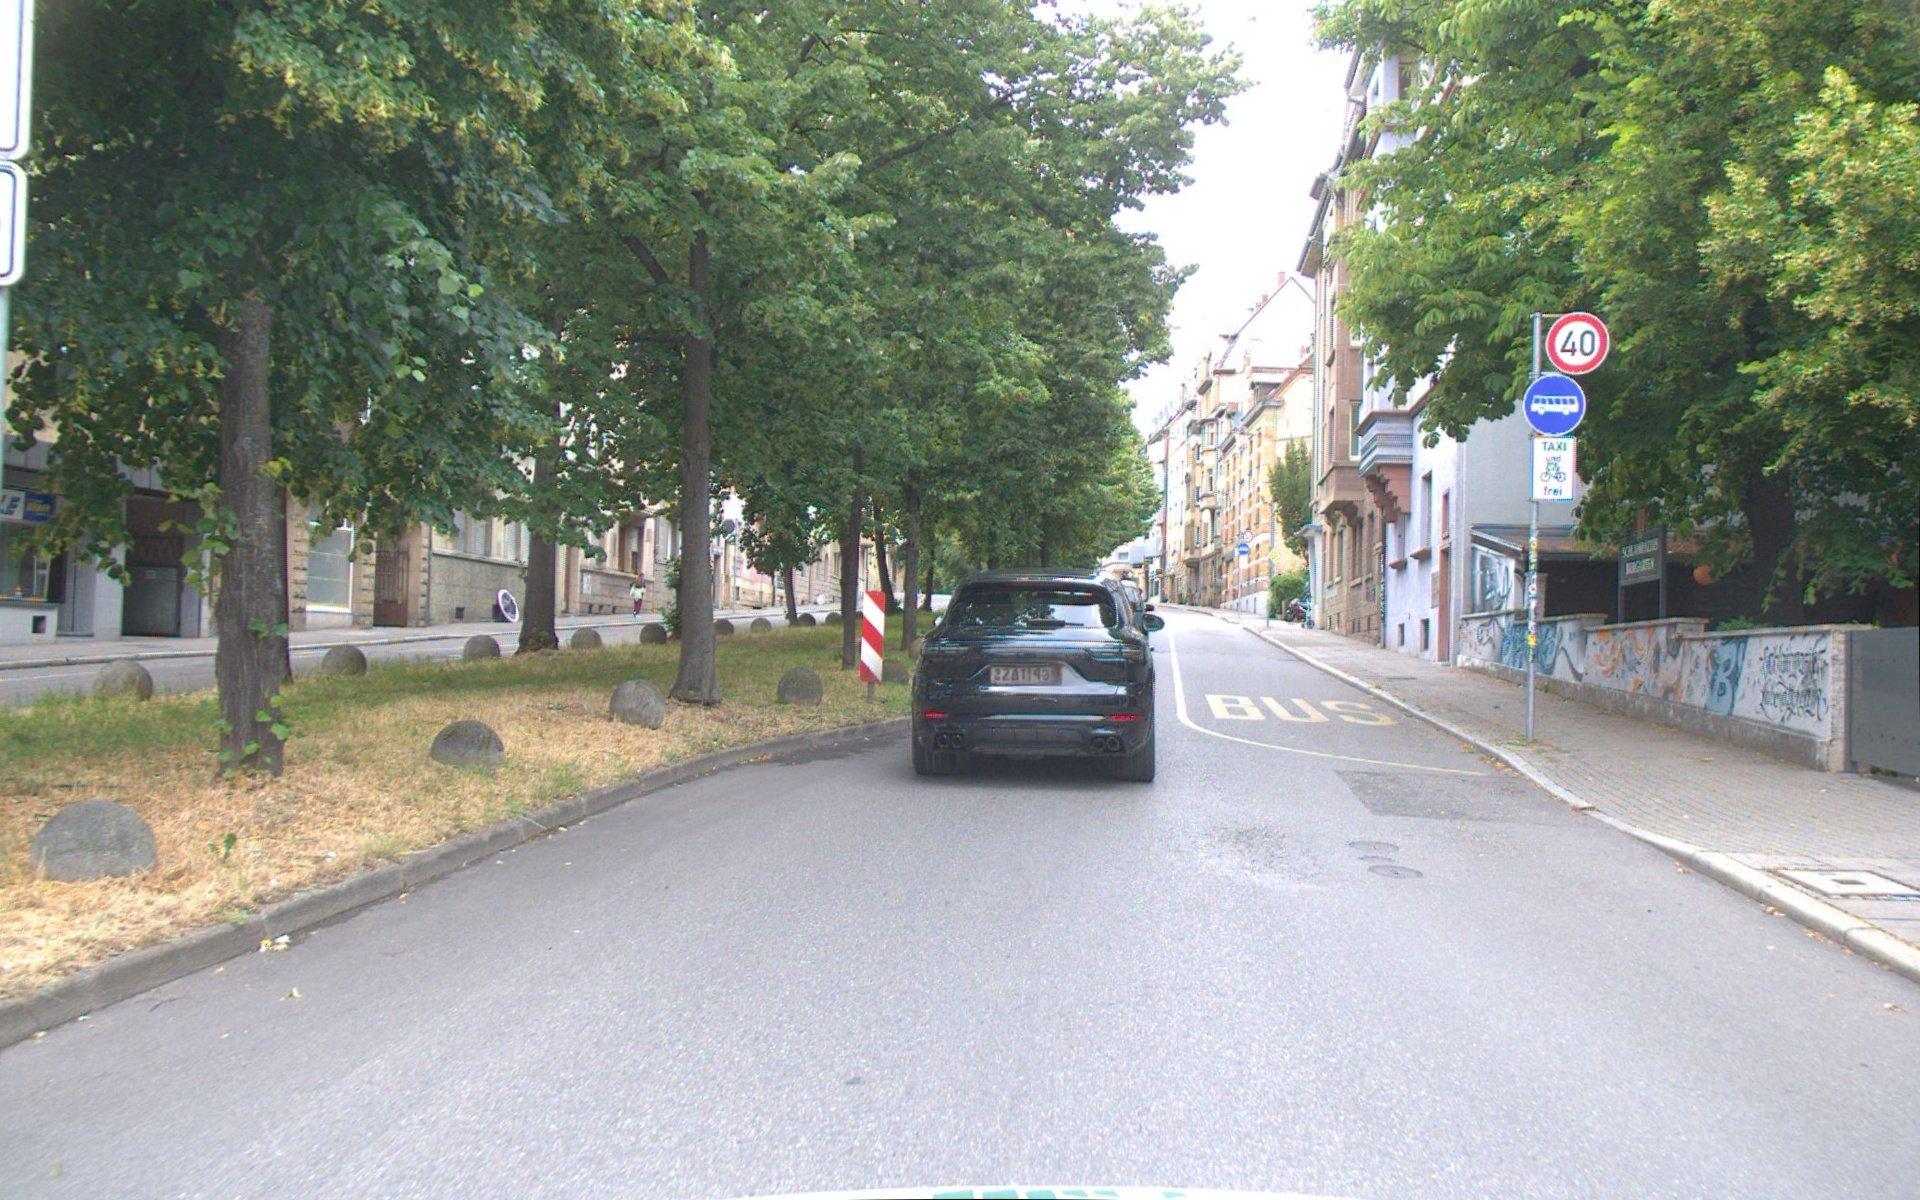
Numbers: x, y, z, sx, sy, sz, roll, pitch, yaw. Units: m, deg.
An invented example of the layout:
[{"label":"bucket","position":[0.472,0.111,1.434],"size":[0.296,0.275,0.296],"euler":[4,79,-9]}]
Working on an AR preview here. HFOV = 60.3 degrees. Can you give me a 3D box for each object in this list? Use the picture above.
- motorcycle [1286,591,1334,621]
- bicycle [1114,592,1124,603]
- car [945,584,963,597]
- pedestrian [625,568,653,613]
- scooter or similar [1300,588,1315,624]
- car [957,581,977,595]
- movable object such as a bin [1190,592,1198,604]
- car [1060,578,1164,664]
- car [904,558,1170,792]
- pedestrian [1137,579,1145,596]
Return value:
[{"label":"motorcycle","position":[16.529,0.266,78.176],"size":[2.013,1.290,1.010],"euler":[3,0,2]},{"label":"bicycle","position":[18.201,-0.336,189.549],"size":[0.861,1.149,2.978],"euler":[2,-2,-1]},{"label":"car","position":[-0.632,-1.046,187.645],"size":[1.672,1.406,4.292],"euler":[0,1,5]},{"label":"pedestrian","position":[-10.915,-0.325,56.244],"size":[0.684,1.486,0.704],"euler":[2,1,7]},{"label":"scooter or similar","position":[12.646,0.220,60.149],"size":[0.401,1.231,1.146],"euler":[-1,3,7]},{"label":"car","position":[0.738,-1.216,169.272],"size":[1.672,1.406,4.672],"euler":[0,1,5]},{"label":"movable object such as a bin","position":[18.314,-0.123,129.376],"size":[0.582,0.920,0.563],"euler":[2,0,2]},{"label":"car","position":[2.983,0.399,31.817],"size":[1.726,1.491,3.594],"euler":[2,-1,9]},{"label":"car","position":[0.737,0.533,14.331],"size":[1.951,1.694,4.003],"euler":[1,1,5]},{"label":"pedestrian","position":[18.514,-1.263,169.072],"size":[0.736,1.722,0.858],"euler":[1,-2,1]}]
